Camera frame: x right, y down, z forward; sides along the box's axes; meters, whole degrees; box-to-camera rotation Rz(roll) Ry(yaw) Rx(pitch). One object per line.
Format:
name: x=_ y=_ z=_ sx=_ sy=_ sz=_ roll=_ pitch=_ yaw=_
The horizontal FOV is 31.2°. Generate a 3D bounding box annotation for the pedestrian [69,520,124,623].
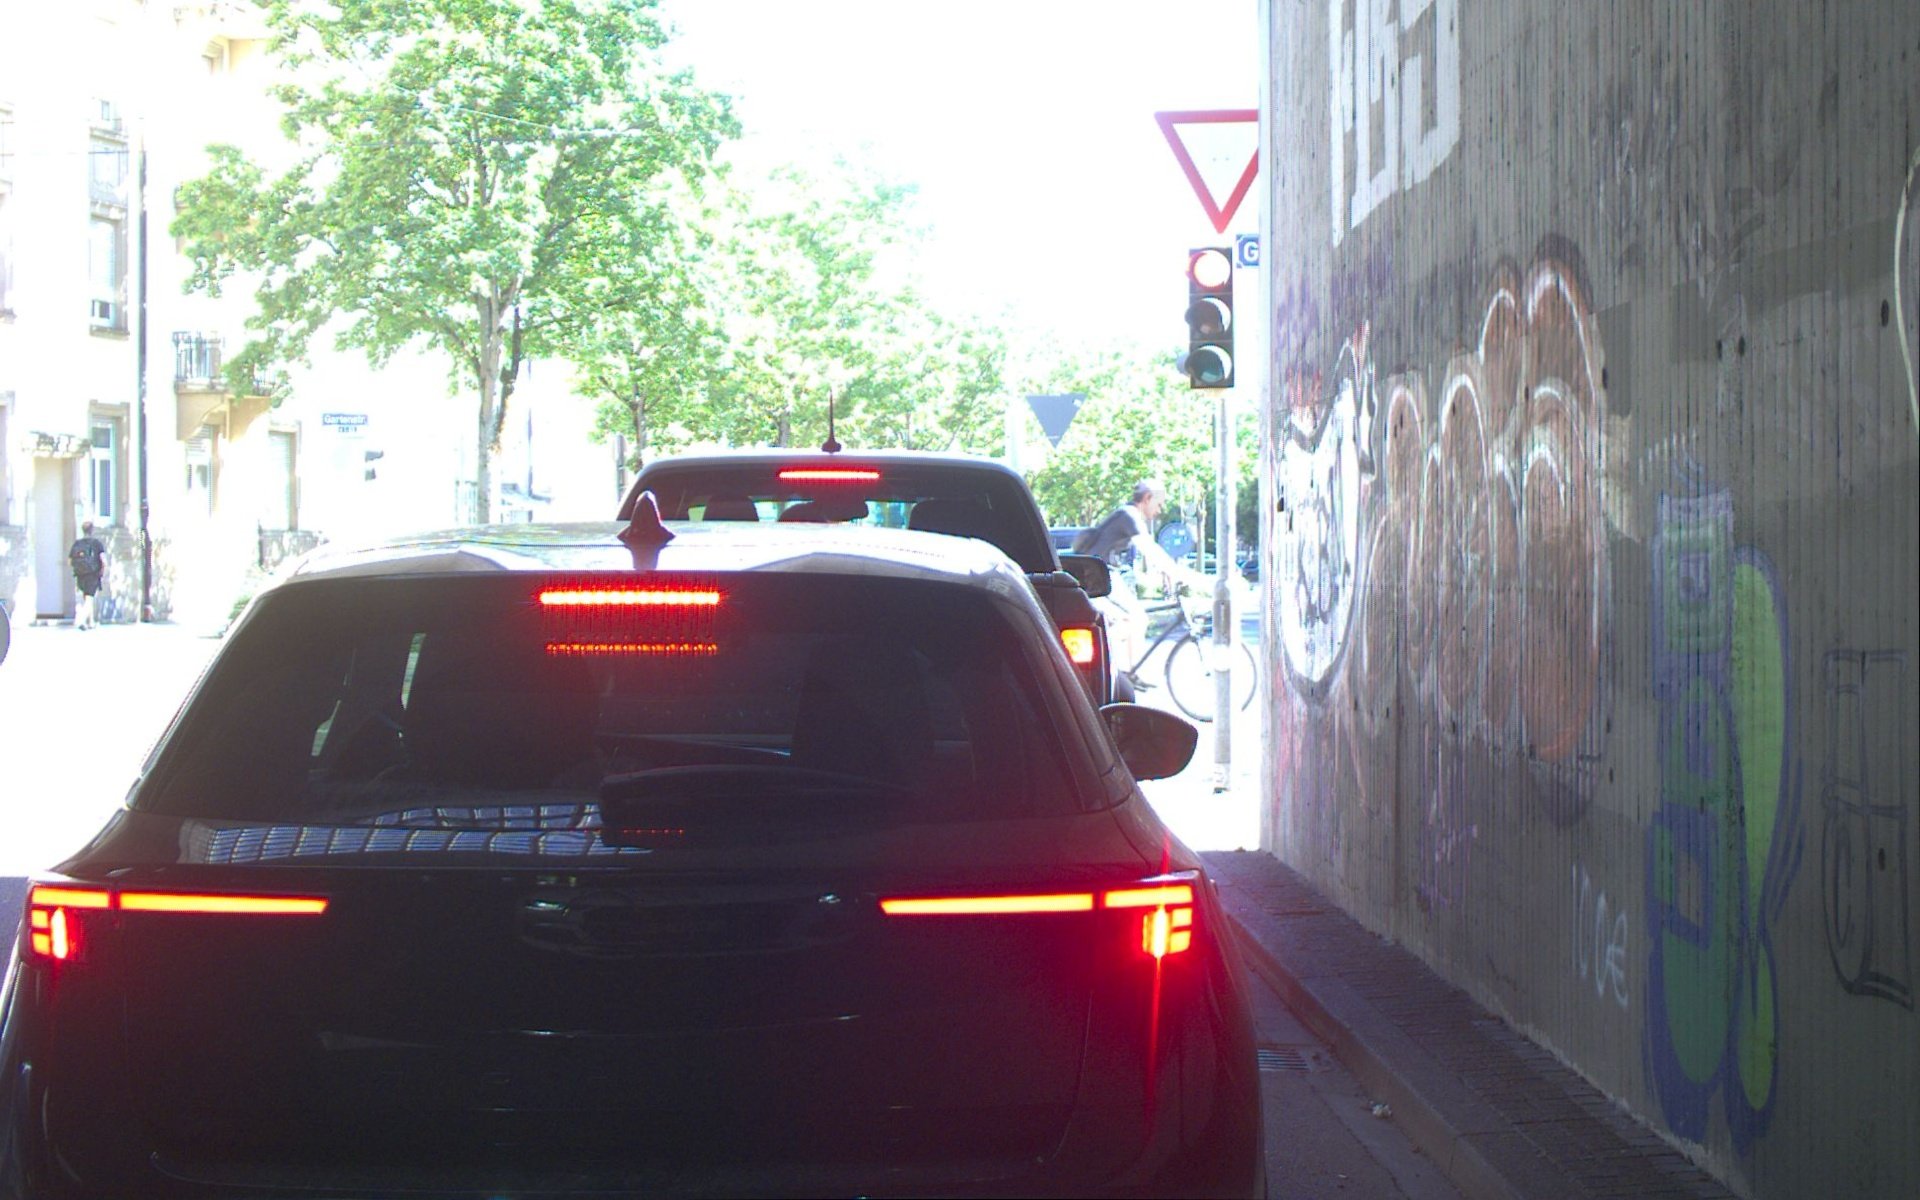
pedestrian: x=-13.808 y=-0.452 z=54.985 sx=0.672 sy=1.632 sz=0.740 roll=1 pitch=0 yaw=-1

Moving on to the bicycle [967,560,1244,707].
bicycle: x=1.090 y=0.245 z=25.551 sx=1.990 sy=1.046 sz=0.718 roll=-1 pitch=0 yaw=7

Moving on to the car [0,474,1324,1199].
car: x=-0.489 y=0.576 z=6.046 sx=1.764 sy=1.566 sz=4.001 roll=1 pitch=2 yaw=-1

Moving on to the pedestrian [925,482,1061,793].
pedestrian: x=0.181 y=0.206 z=19.643 sx=0.731 sy=1.728 sz=0.874 roll=1 pitch=0 yaw=-1

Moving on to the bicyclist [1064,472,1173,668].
bicyclist: x=1.184 y=-0.220 z=25.572 sx=0.738 sy=1.418 sz=0.685 roll=-1 pitch=0 yaw=6

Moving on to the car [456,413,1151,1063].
car: x=-0.472 y=0.360 z=11.938 sx=1.993 sy=1.865 sz=4.000 roll=0 pitch=1 yaw=-1

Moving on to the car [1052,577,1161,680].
car: x=2.946 y=0.534 z=68.382 sx=1.994 sy=1.963 sz=4.163 roll=1 pitch=1 yaw=5
